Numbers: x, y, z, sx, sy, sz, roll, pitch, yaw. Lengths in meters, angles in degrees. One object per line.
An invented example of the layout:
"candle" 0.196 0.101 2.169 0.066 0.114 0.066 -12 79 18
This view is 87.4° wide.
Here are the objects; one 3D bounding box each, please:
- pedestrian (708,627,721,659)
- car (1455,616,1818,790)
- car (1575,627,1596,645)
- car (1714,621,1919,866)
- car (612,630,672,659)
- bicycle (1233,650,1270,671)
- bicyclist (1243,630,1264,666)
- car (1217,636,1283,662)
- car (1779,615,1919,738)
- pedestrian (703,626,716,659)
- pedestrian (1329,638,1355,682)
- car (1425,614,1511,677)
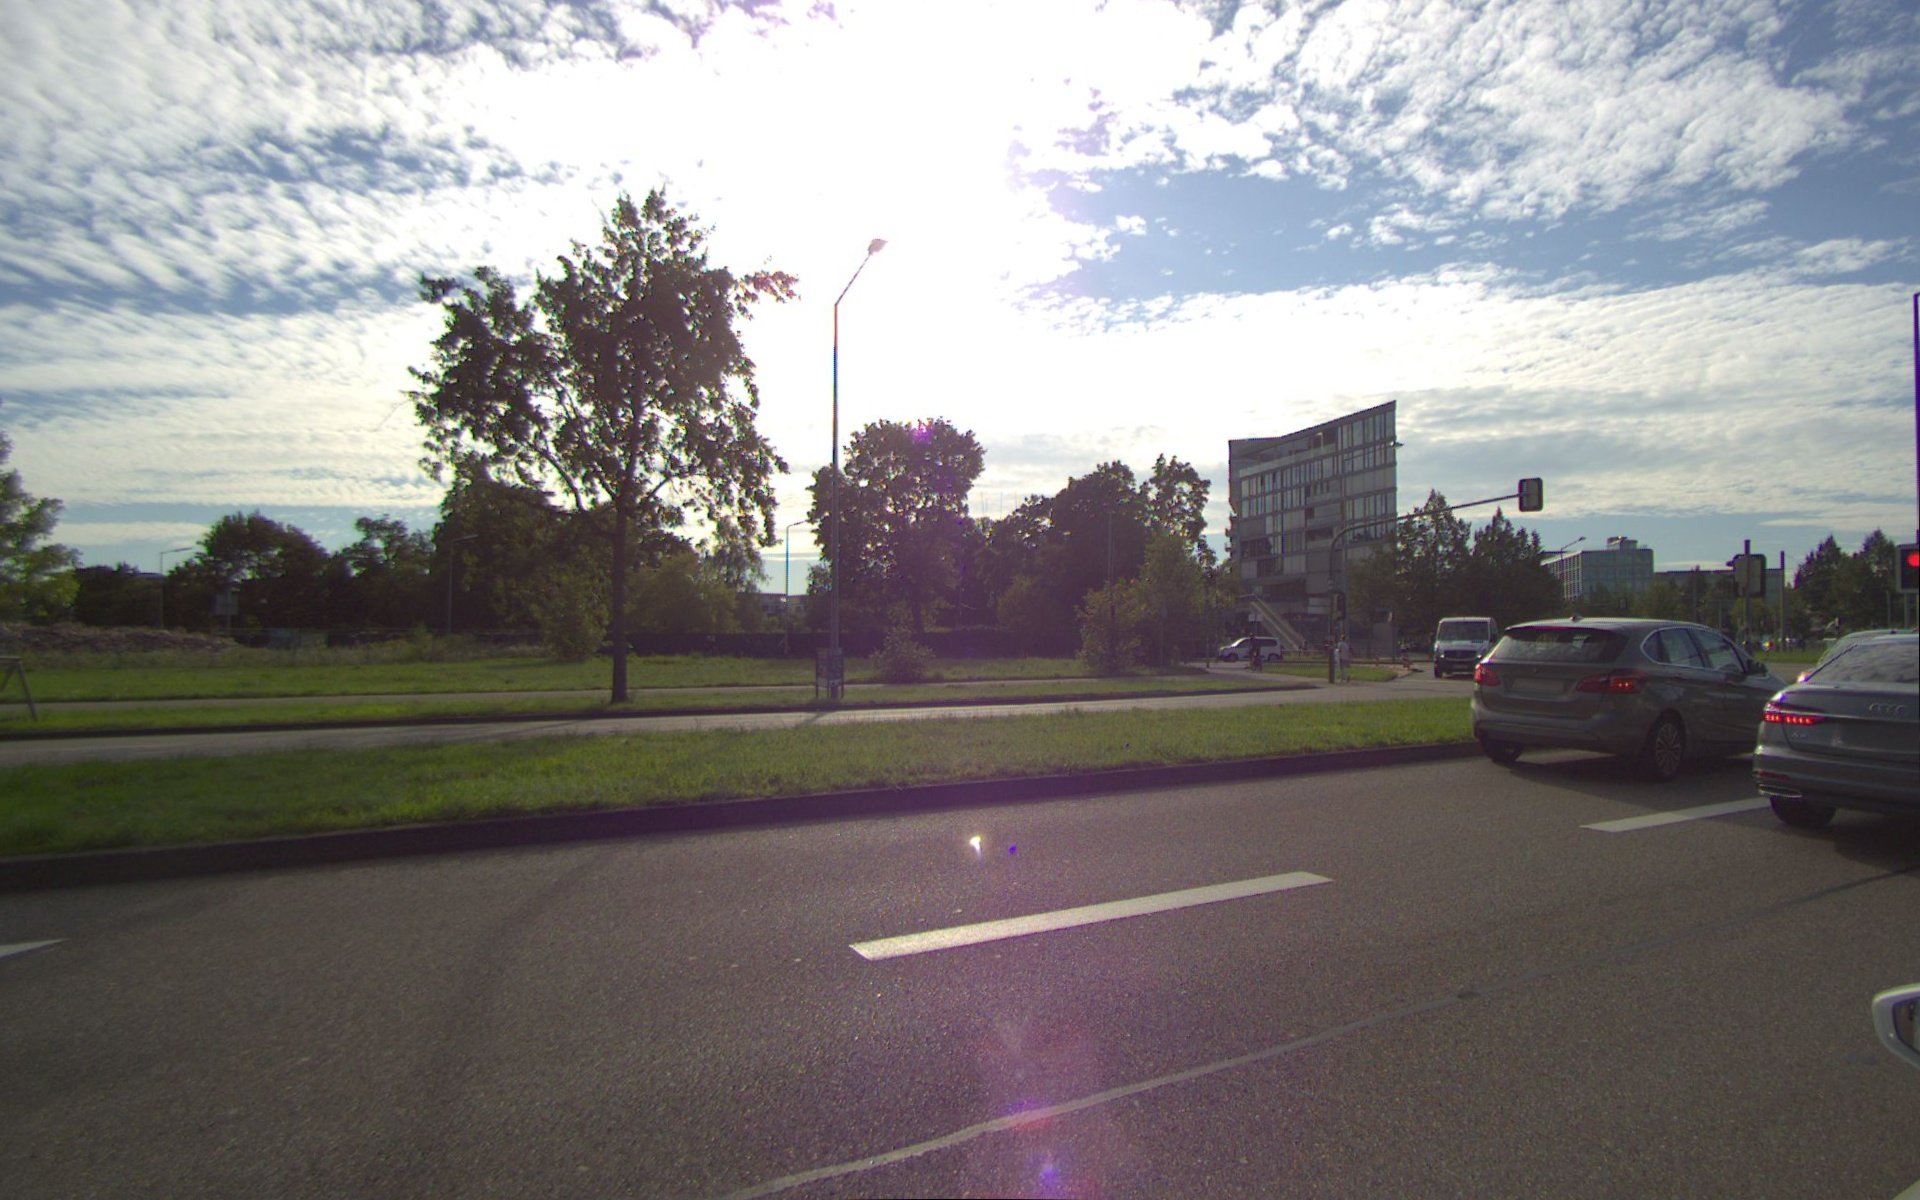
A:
"pedestrian" -15.800 2.757 64.683 0.723 2.040 0.739 0 -2 -6
"car" 7.385 0.993 10.898 3.971 1.579 1.721 1 -1 -30
"car" 57.815 3.350 92.809 1.570 1.433 3.662 -3 -6 33
"car" 7.802 0.952 7.502 4.559 1.502 1.881 2 -1 -31
"car" -24.512 3.406 77.513 3.919 2.040 2.001 2 -1 13
"bicycle" 13.869 2.872 47.790 0.638 0.979 1.664 5 -5 -34
"bicyclist" 13.939 2.274 47.780 0.544 1.690 0.783 2 -3 -34
"car" 19.902 3.342 69.050 4.045 1.770 2.001 0 -2 5
"car" 13.814 1.060 14.593 3.832 1.585 1.713 2 -1 -30
"pedestrian" -15.936 2.697 63.814 0.675 2.040 0.641 0 -2 -5
"pedestrian" 13.719 2.148 36.070 0.609 1.589 0.651 2 -2 -34
"car" 19.998 1.815 39.381 1.968 2.264 5.903 -3 -4 37
